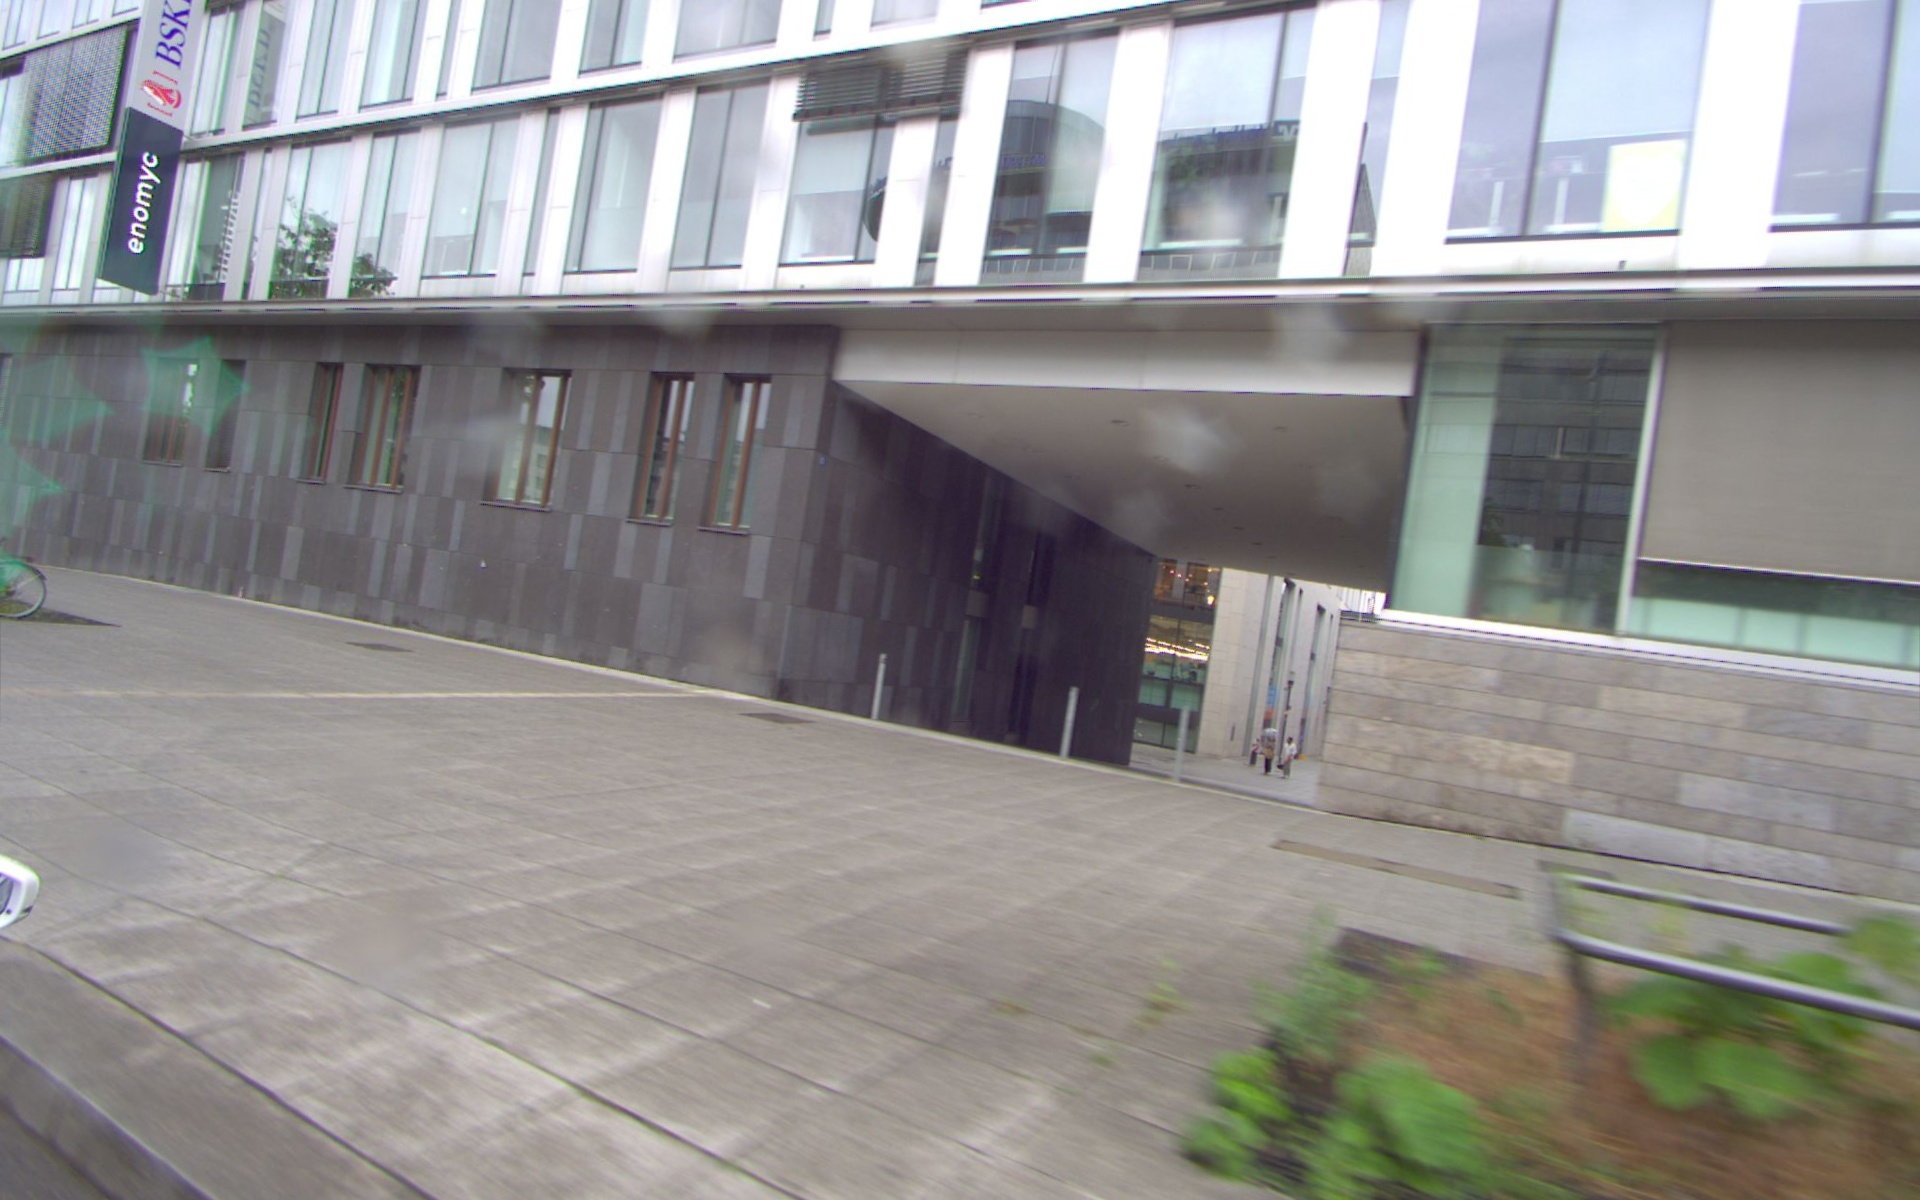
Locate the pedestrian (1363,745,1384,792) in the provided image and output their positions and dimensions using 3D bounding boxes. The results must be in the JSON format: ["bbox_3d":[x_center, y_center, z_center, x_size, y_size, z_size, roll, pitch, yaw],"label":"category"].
[{"bbox_3d":[17.953,7.298,43.655,0.557,1.935,0.661,6,-4,31],"label":"pedestrian"}]

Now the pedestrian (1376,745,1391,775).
[{"bbox_3d":[27.512,10.388,65.382,0.689,1.795,0.593,7,-3,24],"label":"pedestrian"}]

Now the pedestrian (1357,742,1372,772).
[{"bbox_3d":[26.453,10.228,65.766,0.689,1.843,0.593,7,-3,24],"label":"pedestrian"}]

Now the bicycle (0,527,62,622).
[{"bbox_3d":[-11.797,-0.370,11.753,0.676,1.082,1.736,7,-2,22],"label":"bicycle"}]

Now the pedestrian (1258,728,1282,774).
[{"bbox_3d":[12.968,6.302,42.040,0.689,1.795,0.593,7,-3,24],"label":"pedestrian"}]

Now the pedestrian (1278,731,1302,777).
[{"bbox_3d":[13.647,6.370,41.651,0.689,1.795,0.593,7,-3,24],"label":"pedestrian"}]

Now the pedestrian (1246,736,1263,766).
[{"bbox_3d":[13.283,6.794,45.344,0.556,1.256,0.463,7,-3,24],"label":"pedestrian"}]

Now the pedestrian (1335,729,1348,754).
[{"bbox_3d":[29.355,10.885,77.343,0.689,1.795,0.593,7,-3,24],"label":"pedestrian"}]

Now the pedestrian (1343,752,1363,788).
[{"bbox_3d":[17.039,7.363,43.621,0.557,1.432,0.463,6,-4,31],"label":"pedestrian"}]
